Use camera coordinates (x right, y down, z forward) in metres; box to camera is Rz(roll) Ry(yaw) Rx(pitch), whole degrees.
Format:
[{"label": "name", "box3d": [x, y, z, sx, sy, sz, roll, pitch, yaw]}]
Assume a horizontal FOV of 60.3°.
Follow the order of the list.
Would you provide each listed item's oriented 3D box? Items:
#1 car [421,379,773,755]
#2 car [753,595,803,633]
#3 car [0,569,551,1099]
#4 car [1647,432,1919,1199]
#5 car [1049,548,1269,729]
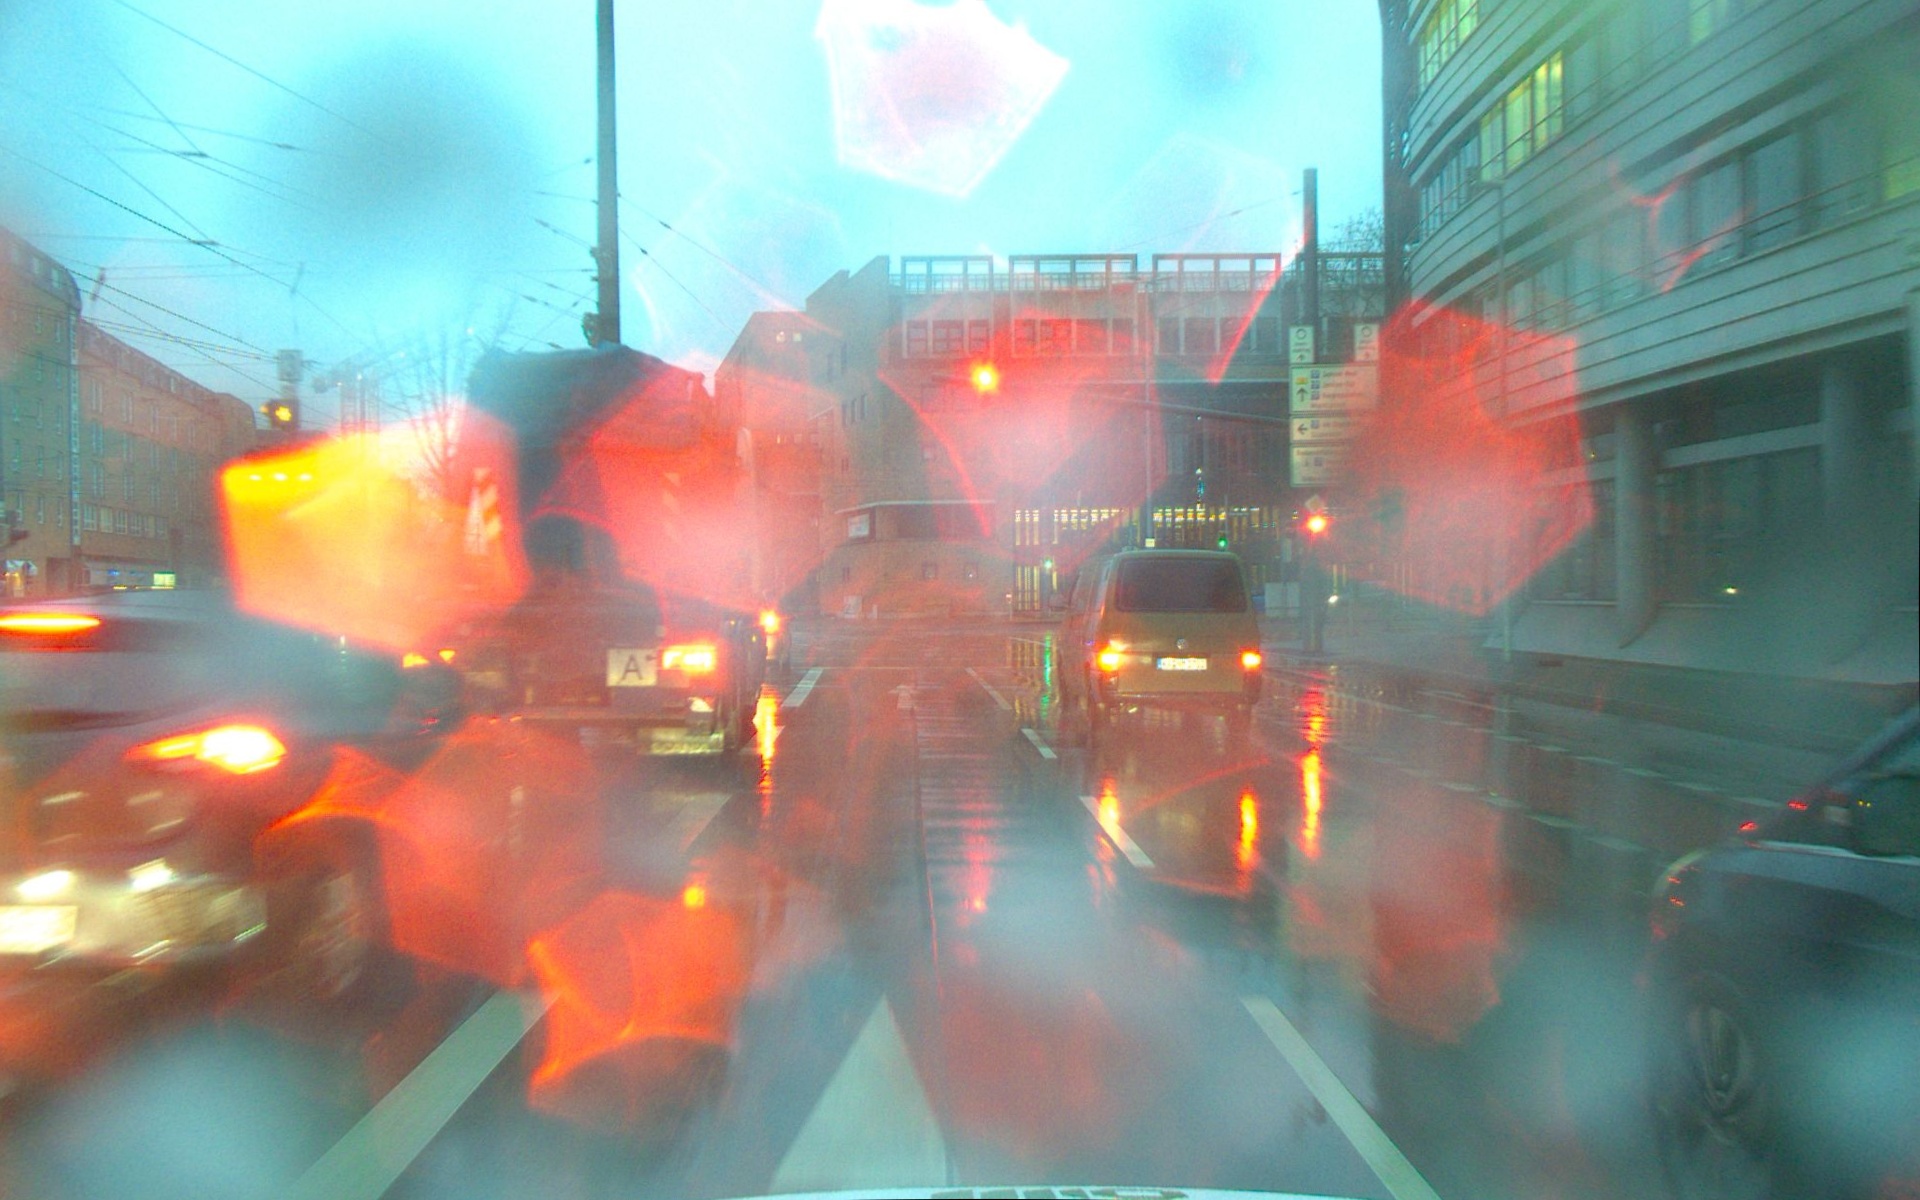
[{"label": "car", "box3d": [-3.137, -0.266, 15.881, 2.308, 2.876, 6.354, 0, 0, -3]}, {"label": "car", "box3d": [-6.717, 0.493, 61.393, 1.480, 1.328, 3.041, -1, 0, 0]}, {"label": "car", "box3d": [-2.881, 0.675, 6.790, 1.671, 1.535, 3.997, 0, 0, -4]}, {"label": "car", "box3d": [2.571, 0.599, 2.063, 1.640, 1.811, 3.998, -1, 0, -2]}, {"label": "car", "box3d": [2.163, 0.376, 19.203, 1.807, 1.837, 4.484, -1, 0, -3]}]
